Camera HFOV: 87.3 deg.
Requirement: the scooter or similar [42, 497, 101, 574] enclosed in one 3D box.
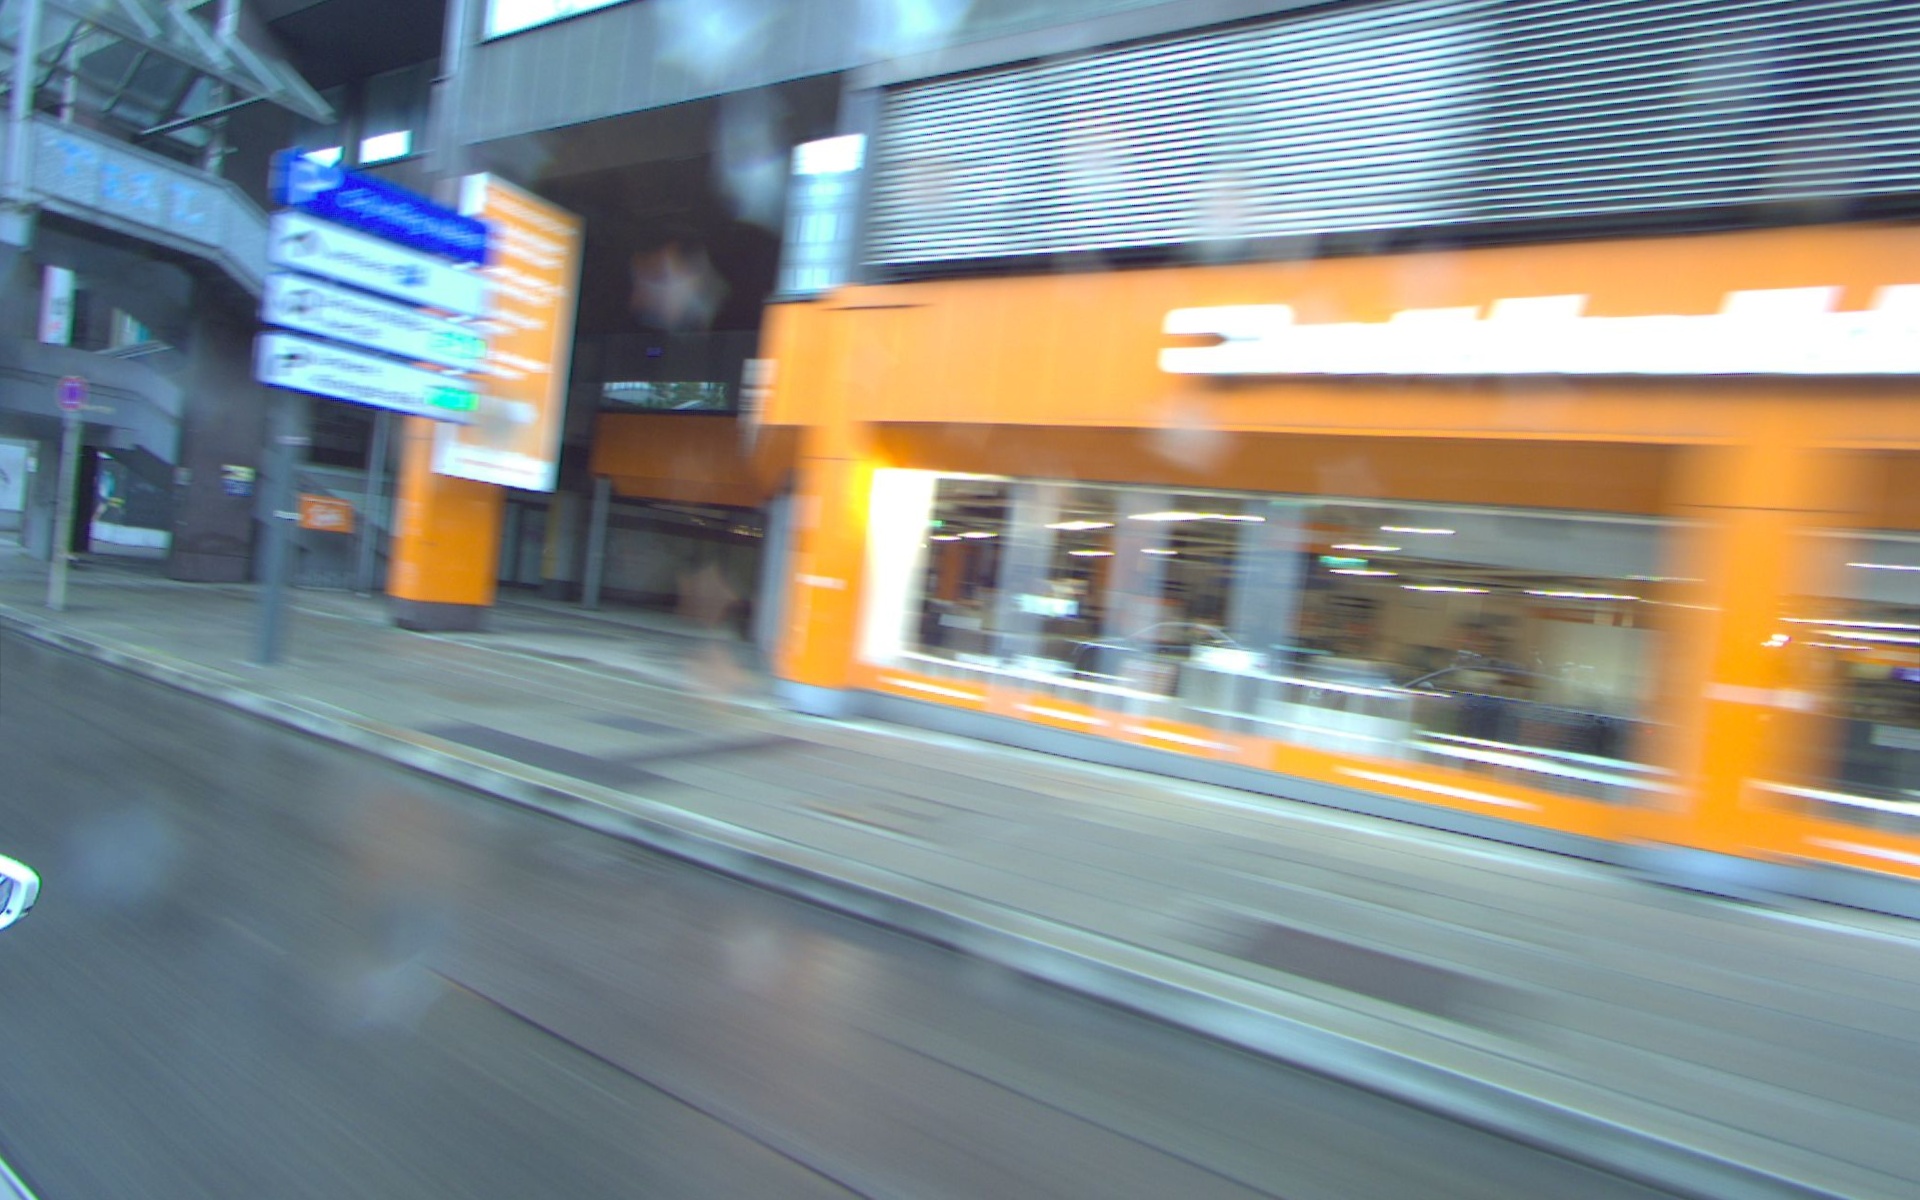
[{"bbox_3d":[-16.184,-1.185,18.317,1.371,1.271,0.350,7,1,31],"label":"scooter or similar"}]
